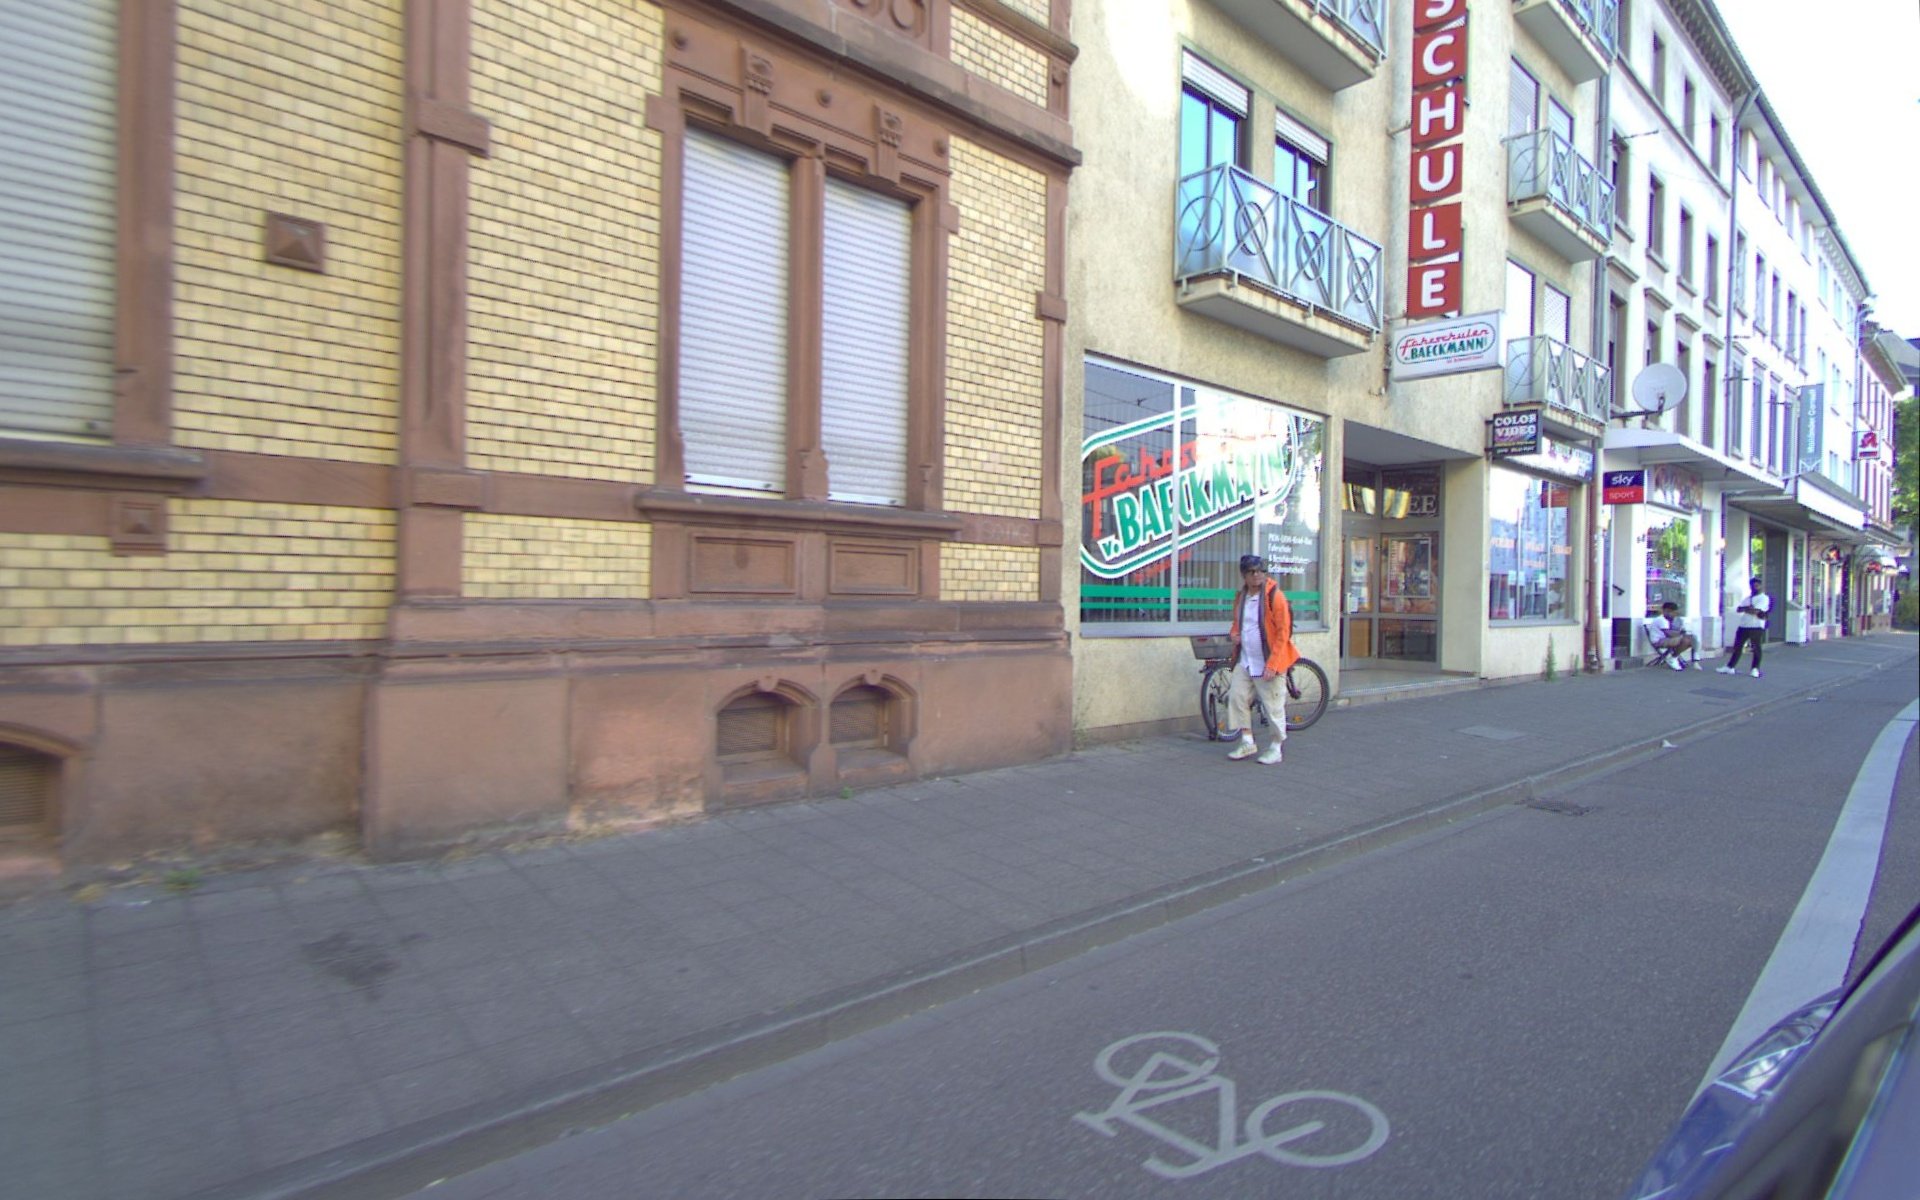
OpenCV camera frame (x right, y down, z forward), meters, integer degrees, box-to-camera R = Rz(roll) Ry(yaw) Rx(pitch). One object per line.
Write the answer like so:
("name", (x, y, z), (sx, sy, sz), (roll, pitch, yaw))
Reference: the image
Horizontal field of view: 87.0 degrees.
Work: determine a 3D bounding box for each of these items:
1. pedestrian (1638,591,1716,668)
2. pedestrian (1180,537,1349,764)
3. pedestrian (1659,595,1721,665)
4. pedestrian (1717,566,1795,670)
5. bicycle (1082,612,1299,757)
("pedestrian", (13.250, 0.524, 18.731), (0.819, 1.270, 0.704), (7, 5, 13))
("pedestrian", (2.427, 0.381, 8.099), (0.810, 1.646, 0.801), (3, 5, -36))
("pedestrian", (13.998, 0.551, 19.437), (0.701, 1.188, 1.006), (8, 5, 29))
("pedestrian", (14.909, 0.328, 18.972), (0.665, 1.833, 0.709), (3, 5, -26))
("bicycle", (2.041, 0.660, 8.712), (2.271, 1.074, 0.556), (1, 3, -42))
